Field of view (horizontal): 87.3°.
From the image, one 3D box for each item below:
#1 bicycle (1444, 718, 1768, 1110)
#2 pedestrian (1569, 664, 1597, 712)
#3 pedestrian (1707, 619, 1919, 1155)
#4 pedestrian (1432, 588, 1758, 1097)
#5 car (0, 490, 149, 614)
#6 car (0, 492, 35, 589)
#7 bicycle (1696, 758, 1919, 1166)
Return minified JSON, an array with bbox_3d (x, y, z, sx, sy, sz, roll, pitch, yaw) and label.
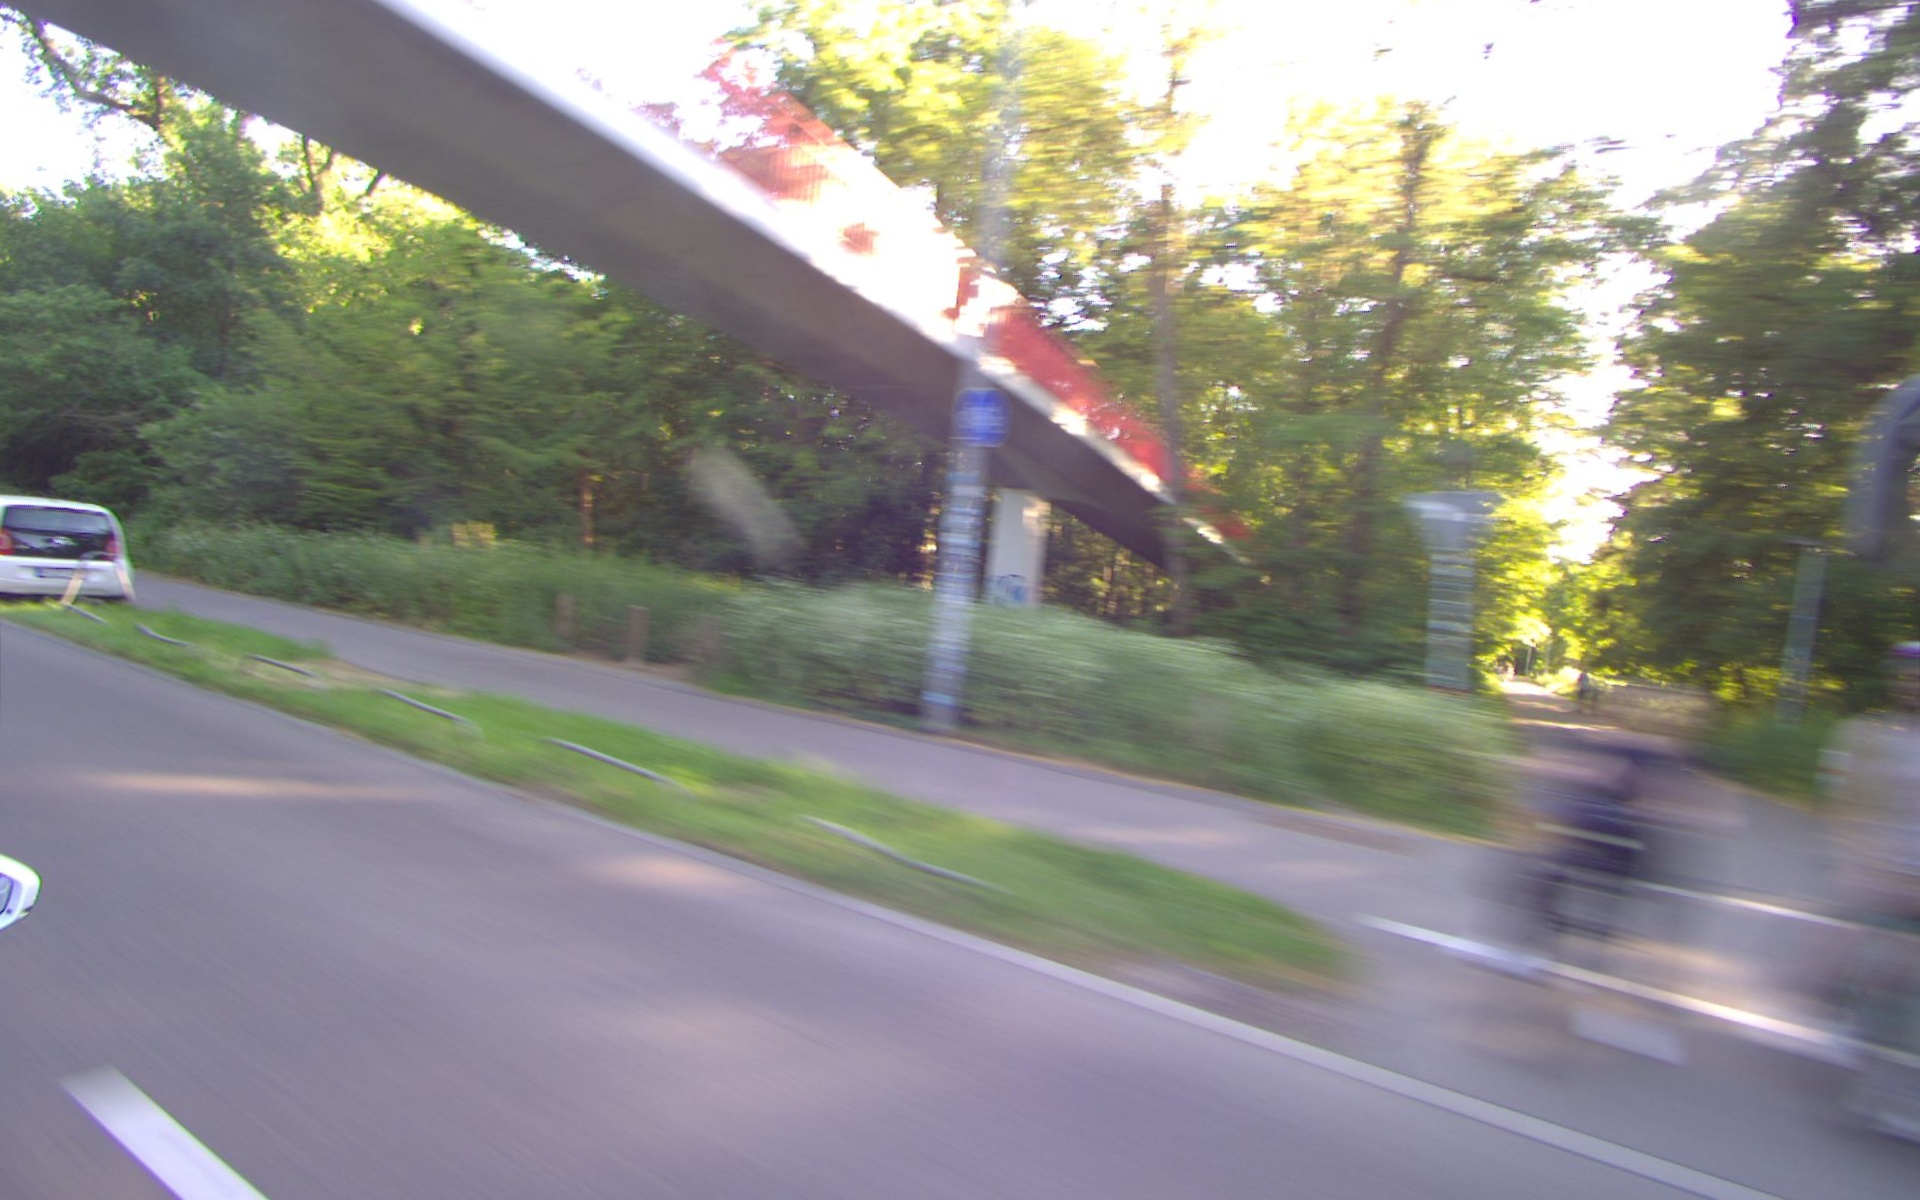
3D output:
[{"bbox_3d":[2.705,1.180,4.467,0.855,1.081,2.066,7,0,27],"label":"bicycle"},{"bbox_3d":[25.527,3.610,41.237,0.786,1.833,0.646,6,-1,29],"label":"pedestrian"},{"bbox_3d":[3.662,1.071,3.906,0.922,1.876,0.700,7,1,27],"label":"pedestrian"},{"bbox_3d":[2.674,0.950,4.366,0.922,1.876,0.700,7,1,27],"label":"pedestrian"},{"bbox_3d":[-13.370,-0.770,14.461,3.716,1.516,1.721,7,3,36],"label":"car"},{"bbox_3d":[-17.354,-1.188,16.886,4.079,1.515,1.724,7,0,34],"label":"car"},{"bbox_3d":[3.707,1.320,3.972,0.855,1.081,2.066,7,0,27],"label":"bicycle"}]
